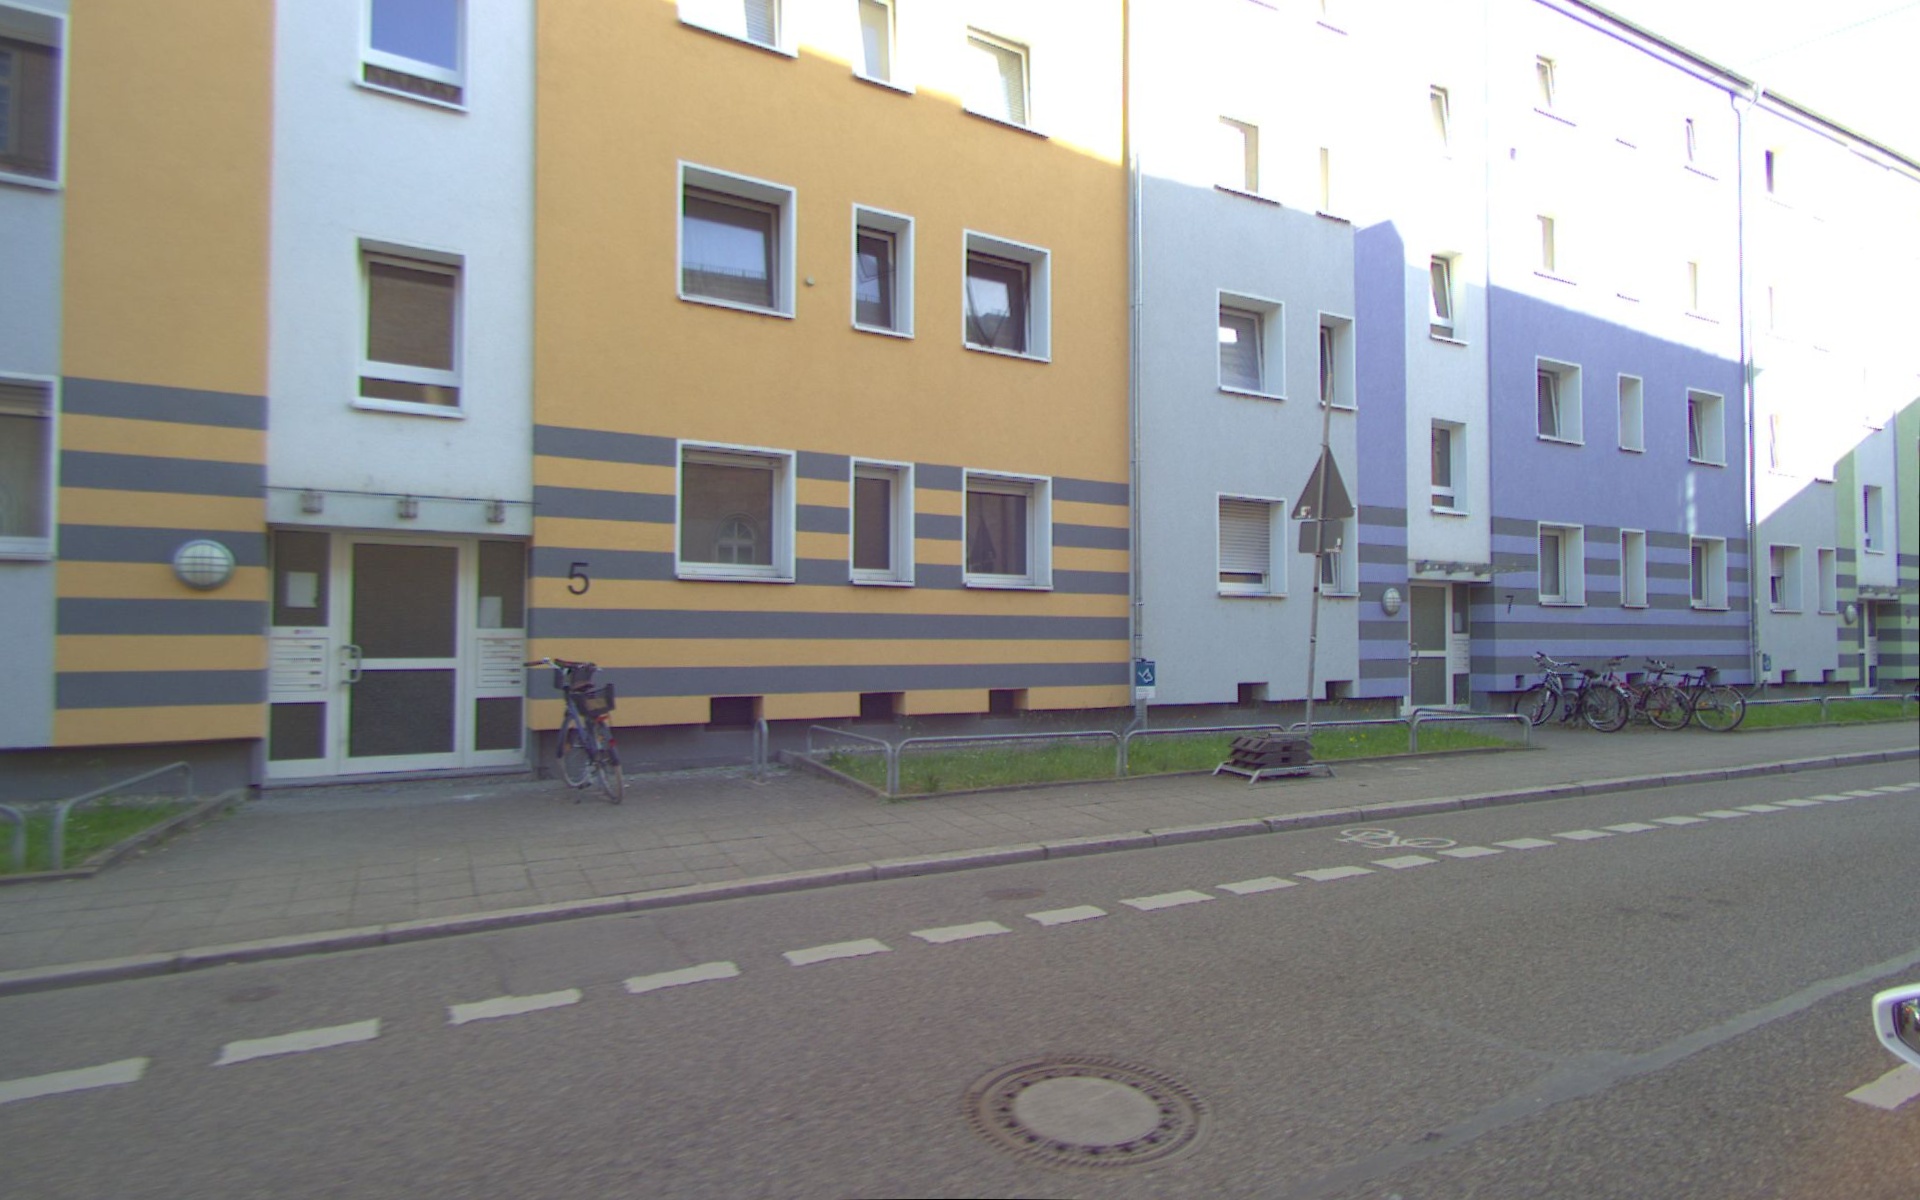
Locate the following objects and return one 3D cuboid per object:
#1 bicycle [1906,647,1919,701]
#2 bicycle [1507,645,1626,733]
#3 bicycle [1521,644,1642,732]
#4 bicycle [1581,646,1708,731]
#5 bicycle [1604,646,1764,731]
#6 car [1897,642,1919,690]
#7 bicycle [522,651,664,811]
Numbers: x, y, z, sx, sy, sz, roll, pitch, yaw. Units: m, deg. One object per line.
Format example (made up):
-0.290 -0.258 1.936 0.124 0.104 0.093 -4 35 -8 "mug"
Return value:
22.105 1.684 22.037 0.609 1.195 1.911 2 1 -42 "bicycle"
9.265 1.335 15.400 0.379 1.258 1.572 1 -2 -29 "bicycle"
9.622 1.332 15.607 0.444 1.258 1.577 1 -2 -29 "bicycle"
10.834 1.368 15.958 0.461 1.258 1.631 1 -2 -29 "bicycle"
11.556 1.372 16.111 0.615 1.247 1.999 1 -2 -30 "bicycle"
30.809 1.990 30.163 1.789 1.462 3.490 1 -2 -25 "car"
-3.122 1.029 8.450 0.645 1.160 1.739 1 -2 -37 "bicycle"
